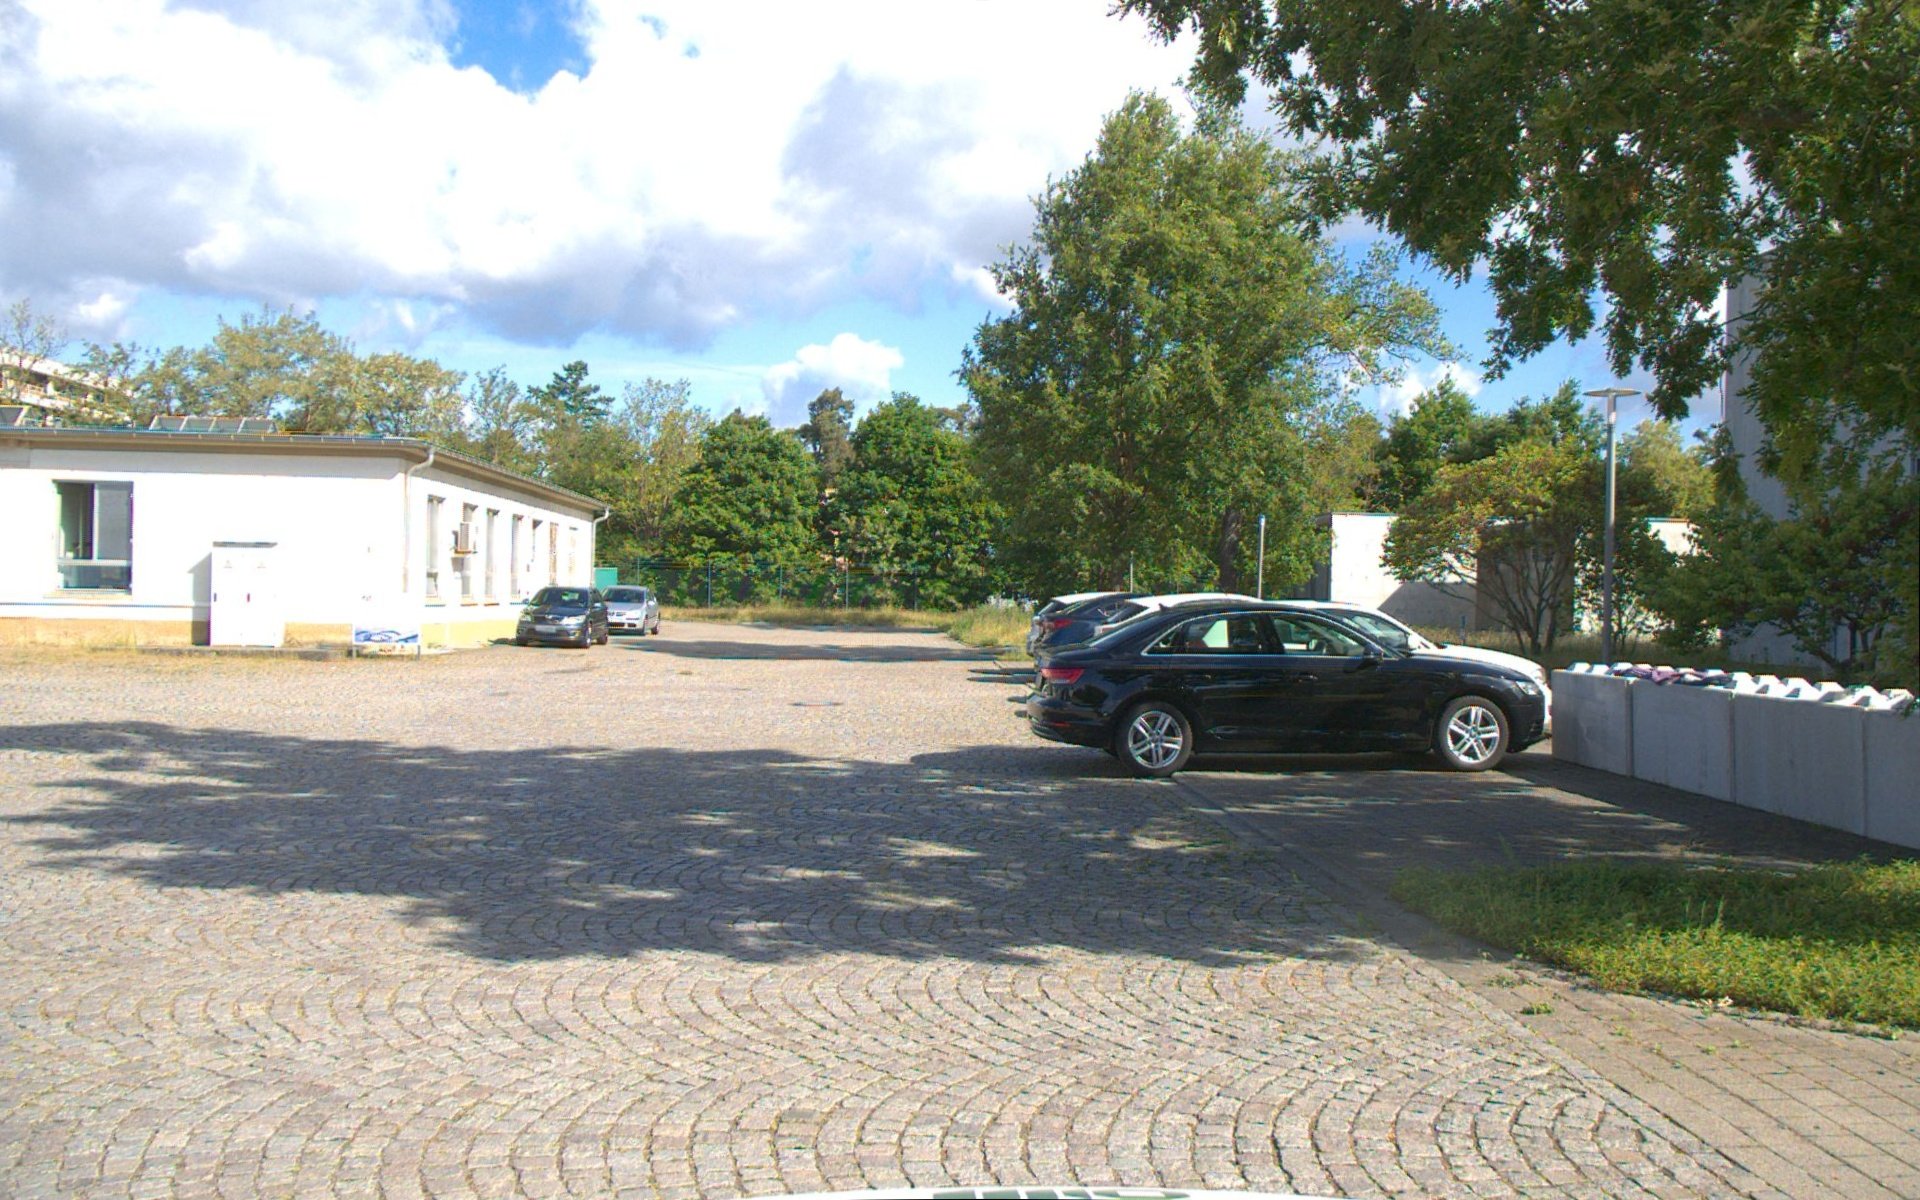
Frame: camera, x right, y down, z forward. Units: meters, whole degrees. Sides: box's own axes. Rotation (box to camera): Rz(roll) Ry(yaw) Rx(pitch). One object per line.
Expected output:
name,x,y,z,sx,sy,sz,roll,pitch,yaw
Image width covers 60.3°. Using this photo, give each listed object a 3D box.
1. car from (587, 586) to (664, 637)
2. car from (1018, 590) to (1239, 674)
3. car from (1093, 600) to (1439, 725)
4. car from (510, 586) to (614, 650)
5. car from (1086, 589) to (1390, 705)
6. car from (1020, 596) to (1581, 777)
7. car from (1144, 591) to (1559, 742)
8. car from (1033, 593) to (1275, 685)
car,-10.228,0.348,50.832,1.653,1.460,3.985,1,0,-2
car,3.067,0.576,30.630,3.834,1.460,1.795,-1,0,-3
car,3.636,0.723,20.086,3.834,1.396,1.727,-1,0,-3
car,-9.782,0.419,40.892,1.728,1.460,3.990,1,0,-2
car,3.735,0.617,22.667,3.834,1.472,1.755,-1,0,-3
car,2.939,0.718,14.849,4.626,1.448,1.755,-1,0,-4
car,4.062,0.671,17.649,4.052,1.485,1.692,-1,0,2
car,3.207,0.625,27.821,3.834,1.442,1.691,-1,0,-3
